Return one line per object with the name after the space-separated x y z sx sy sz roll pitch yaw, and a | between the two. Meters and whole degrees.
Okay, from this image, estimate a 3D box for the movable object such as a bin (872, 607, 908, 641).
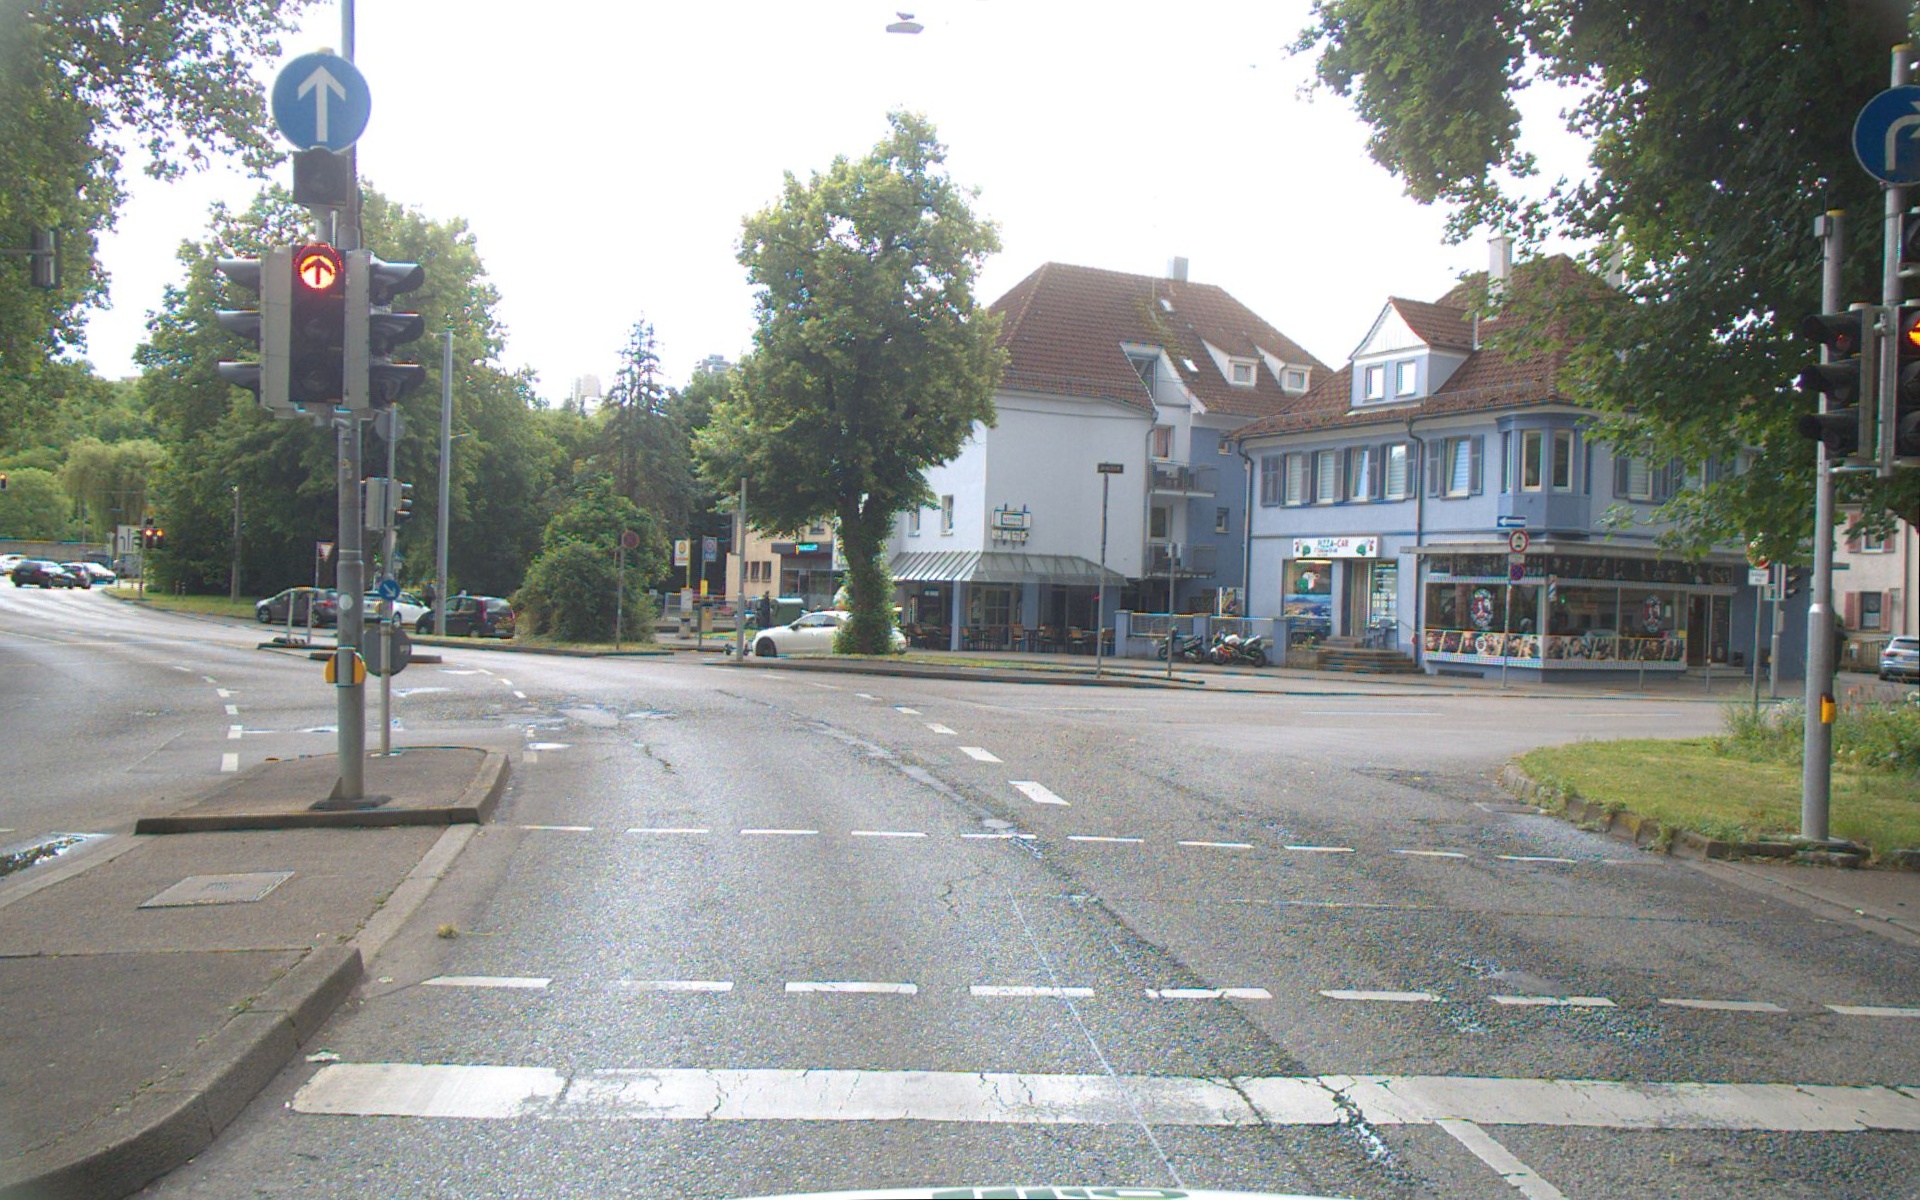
-2.982 1.011 70.391 1.197 1.419 1.153 1 0 -22 | movable object such as a bin

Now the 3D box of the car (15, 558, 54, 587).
-52.026 -1.532 92.933 1.803 1.535 4.527 1 0 -30 | car

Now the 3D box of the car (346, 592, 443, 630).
-22.696 0.434 66.513 1.721 1.405 4.265 2 0 11 | car

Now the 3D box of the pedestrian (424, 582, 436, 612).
-28.148 -0.170 87.864 0.503 1.558 0.772 2 -1 -23 | pedestrian

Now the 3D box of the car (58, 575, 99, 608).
-55.299 -0.540 103.763 1.968 1.959 3.969 1 0 -24 | car

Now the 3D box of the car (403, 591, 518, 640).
-16.090 0.487 53.287 3.416 1.428 1.571 2 0 28 | car

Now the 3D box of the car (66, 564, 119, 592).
-65.511 -1.631 124.970 3.296 2.049 1.679 1 0 -20 | car

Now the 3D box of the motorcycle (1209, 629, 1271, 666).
8.193 1.380 48.431 1.791 1.003 0.518 1 -1 43 | motorcycle

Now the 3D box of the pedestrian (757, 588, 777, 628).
-8.668 0.353 74.419 0.680 1.760 0.605 1 -1 -32 | pedestrian

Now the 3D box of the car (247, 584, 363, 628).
-25.200 0.226 63.645 4.016 1.454 1.733 3 0 21 | car

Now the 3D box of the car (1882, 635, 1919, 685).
29.693 1.862 51.665 1.537 1.488 3.433 2 0 29 | car

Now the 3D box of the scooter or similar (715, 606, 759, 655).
-5.749 0.789 42.646 0.403 1.187 1.361 1 -3 25 | scooter or similar

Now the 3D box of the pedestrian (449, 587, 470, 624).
-22.160 0.239 73.246 0.677 1.578 0.734 2 0 -32 | pedestrian

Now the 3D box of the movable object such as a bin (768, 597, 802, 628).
-7.801 0.555 73.777 1.204 1.368 0.984 1 -1 -32 | movable object such as a bin

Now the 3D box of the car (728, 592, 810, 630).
-8.736 0.485 75.614 3.370 1.659 1.611 1 0 -26 | car

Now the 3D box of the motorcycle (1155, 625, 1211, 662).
6.755 1.307 50.142 1.695 1.049 0.487 1 0 43 | motorcycle

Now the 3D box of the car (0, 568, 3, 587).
-90.702 -2.112 154.266 1.967 1.684 4.394 2 1 -24 | car

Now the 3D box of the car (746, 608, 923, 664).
-3.499 0.965 45.749 4.689 1.411 1.994 1 0 34 | car
